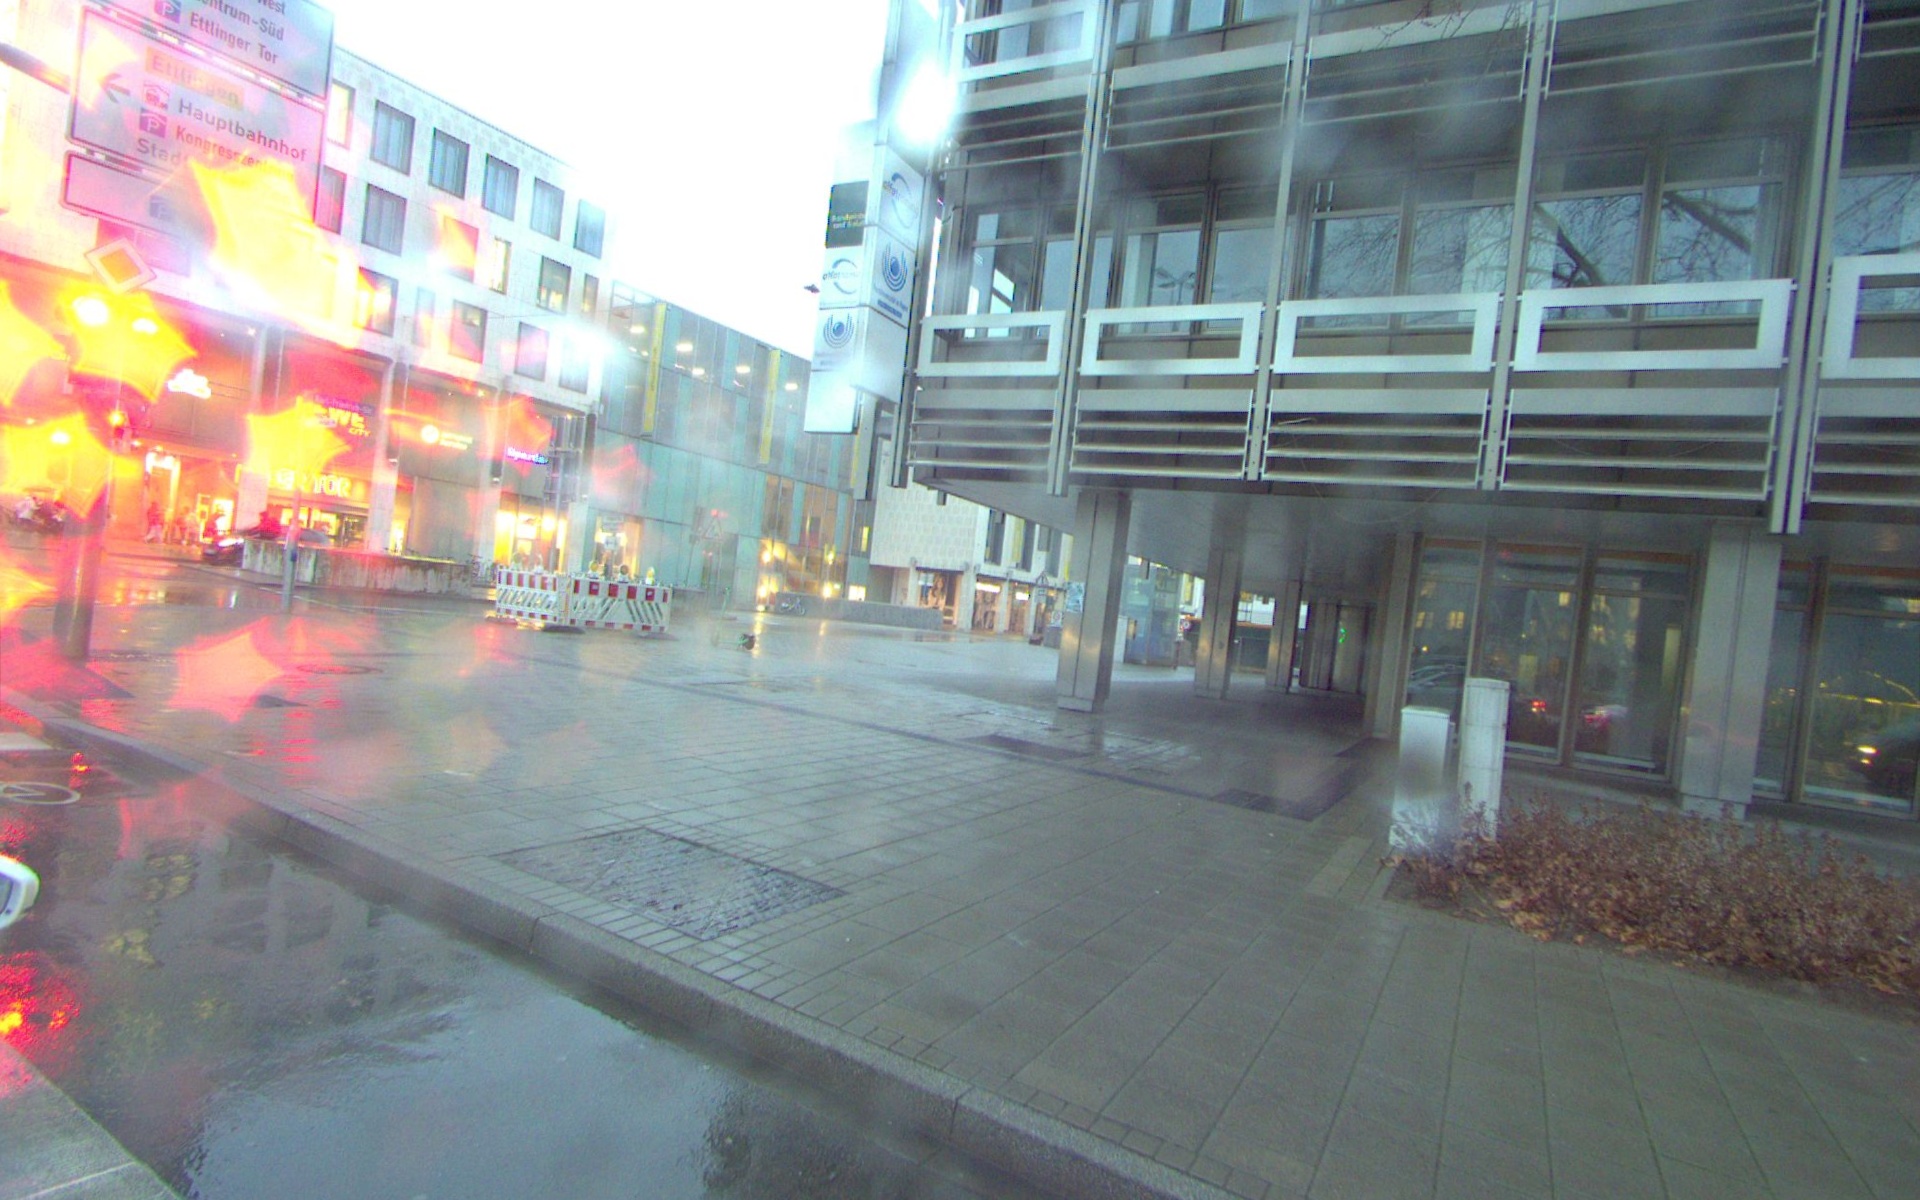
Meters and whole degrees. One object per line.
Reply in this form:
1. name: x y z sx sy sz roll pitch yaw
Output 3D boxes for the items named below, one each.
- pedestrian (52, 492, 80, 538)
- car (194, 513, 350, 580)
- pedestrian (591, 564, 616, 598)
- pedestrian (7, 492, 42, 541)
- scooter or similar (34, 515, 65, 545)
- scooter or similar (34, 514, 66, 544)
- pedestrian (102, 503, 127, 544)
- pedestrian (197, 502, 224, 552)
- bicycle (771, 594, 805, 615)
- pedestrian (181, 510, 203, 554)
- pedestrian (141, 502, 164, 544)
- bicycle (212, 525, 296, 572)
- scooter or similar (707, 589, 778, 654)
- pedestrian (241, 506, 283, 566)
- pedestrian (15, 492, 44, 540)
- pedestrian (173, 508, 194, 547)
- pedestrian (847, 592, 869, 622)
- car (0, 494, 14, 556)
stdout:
1. pedestrian: -35.121 -3.338 39.520 0.529 1.739 0.500 6 1 -21
2. car: -21.461 -1.626 31.498 1.648 1.601 3.575 6 -1 29
3. pedestrian: -18.333 -0.973 51.762 0.697 1.650 0.795 6 -1 31
4. pedestrian: -34.299 -3.068 36.896 0.394 1.688 0.742 7 1 32
5. scooter or similar: -33.931 -2.608 37.493 0.394 1.005 0.741 7 0 33
6. scooter or similar: -33.954 -2.647 37.539 0.394 1.005 0.742 7 0 32
7. pedestrian: -33.699 -3.039 40.100 0.529 1.562 0.500 6 1 -21
8. pedestrian: -27.036 -2.633 36.298 0.529 1.706 0.546 6 1 -21
9. bicycle: -10.583 0.266 61.766 2.101 1.046 0.616 6 0 33
10. pedestrian: -32.889 -2.911 43.072 0.368 1.782 0.512 7 1 31
11. pedestrian: -35.384 -3.372 44.074 0.529 1.739 0.500 6 1 -21
12. bicycle: -20.302 -1.476 28.934 1.839 1.107 0.610 7 0 -44
13. scooter or similar: -4.370 0.431 20.234 1.215 1.144 0.606 7 0 32
14. pedestrian: -20.148 -1.849 29.044 0.778 1.615 0.605 6 1 -43
15. pedestrian: -35.704 -3.207 38.613 0.529 1.739 0.500 6 1 -21
16. pedestrian: -36.272 -3.371 46.982 0.529 1.739 0.500 6 1 -21
17. pedestrian: -7.421 0.510 73.248 1.006 2.037 0.906 6 -1 31
18. car: -27.347 -2.251 25.702 4.523 1.593 1.774 8 0 -44
